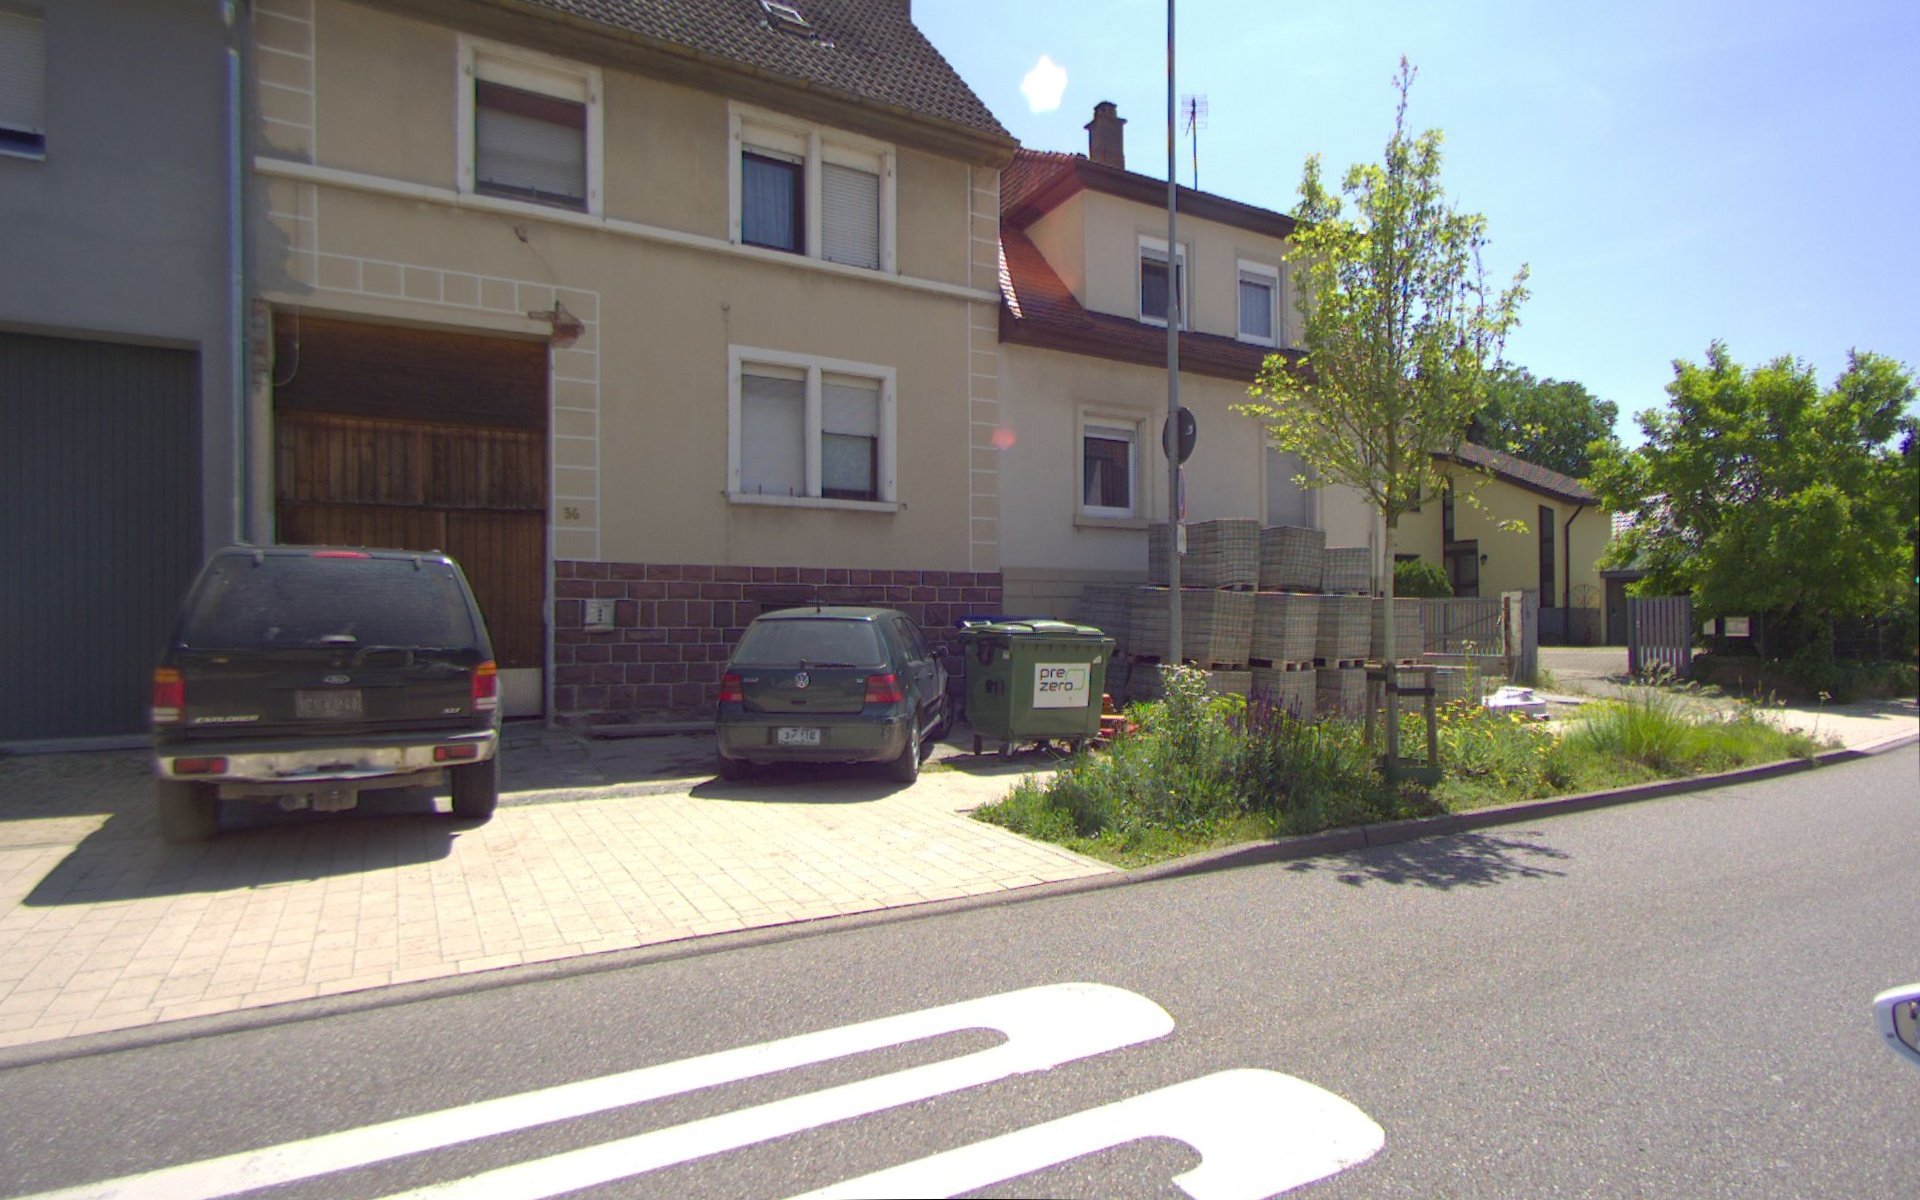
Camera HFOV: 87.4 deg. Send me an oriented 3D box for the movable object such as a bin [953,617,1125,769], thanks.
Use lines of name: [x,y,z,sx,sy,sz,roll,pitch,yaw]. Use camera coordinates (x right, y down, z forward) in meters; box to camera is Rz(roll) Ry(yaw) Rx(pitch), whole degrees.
movable object such as a bin: [0.773,0.862,9.949,1.385,1.337,0.986,-1,1,-26]

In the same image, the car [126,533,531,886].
car: [-4.453,0.590,7.425,1.856,1.773,4.374,1,-1,-30]

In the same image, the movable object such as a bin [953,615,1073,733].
movable object such as a bin: [0.623,0.839,12.030,0.879,1.285,1.230,-2,1,-32]

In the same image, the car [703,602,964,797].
car: [-0.977,0.799,9.491,1.664,1.458,3.554,1,-1,6]
